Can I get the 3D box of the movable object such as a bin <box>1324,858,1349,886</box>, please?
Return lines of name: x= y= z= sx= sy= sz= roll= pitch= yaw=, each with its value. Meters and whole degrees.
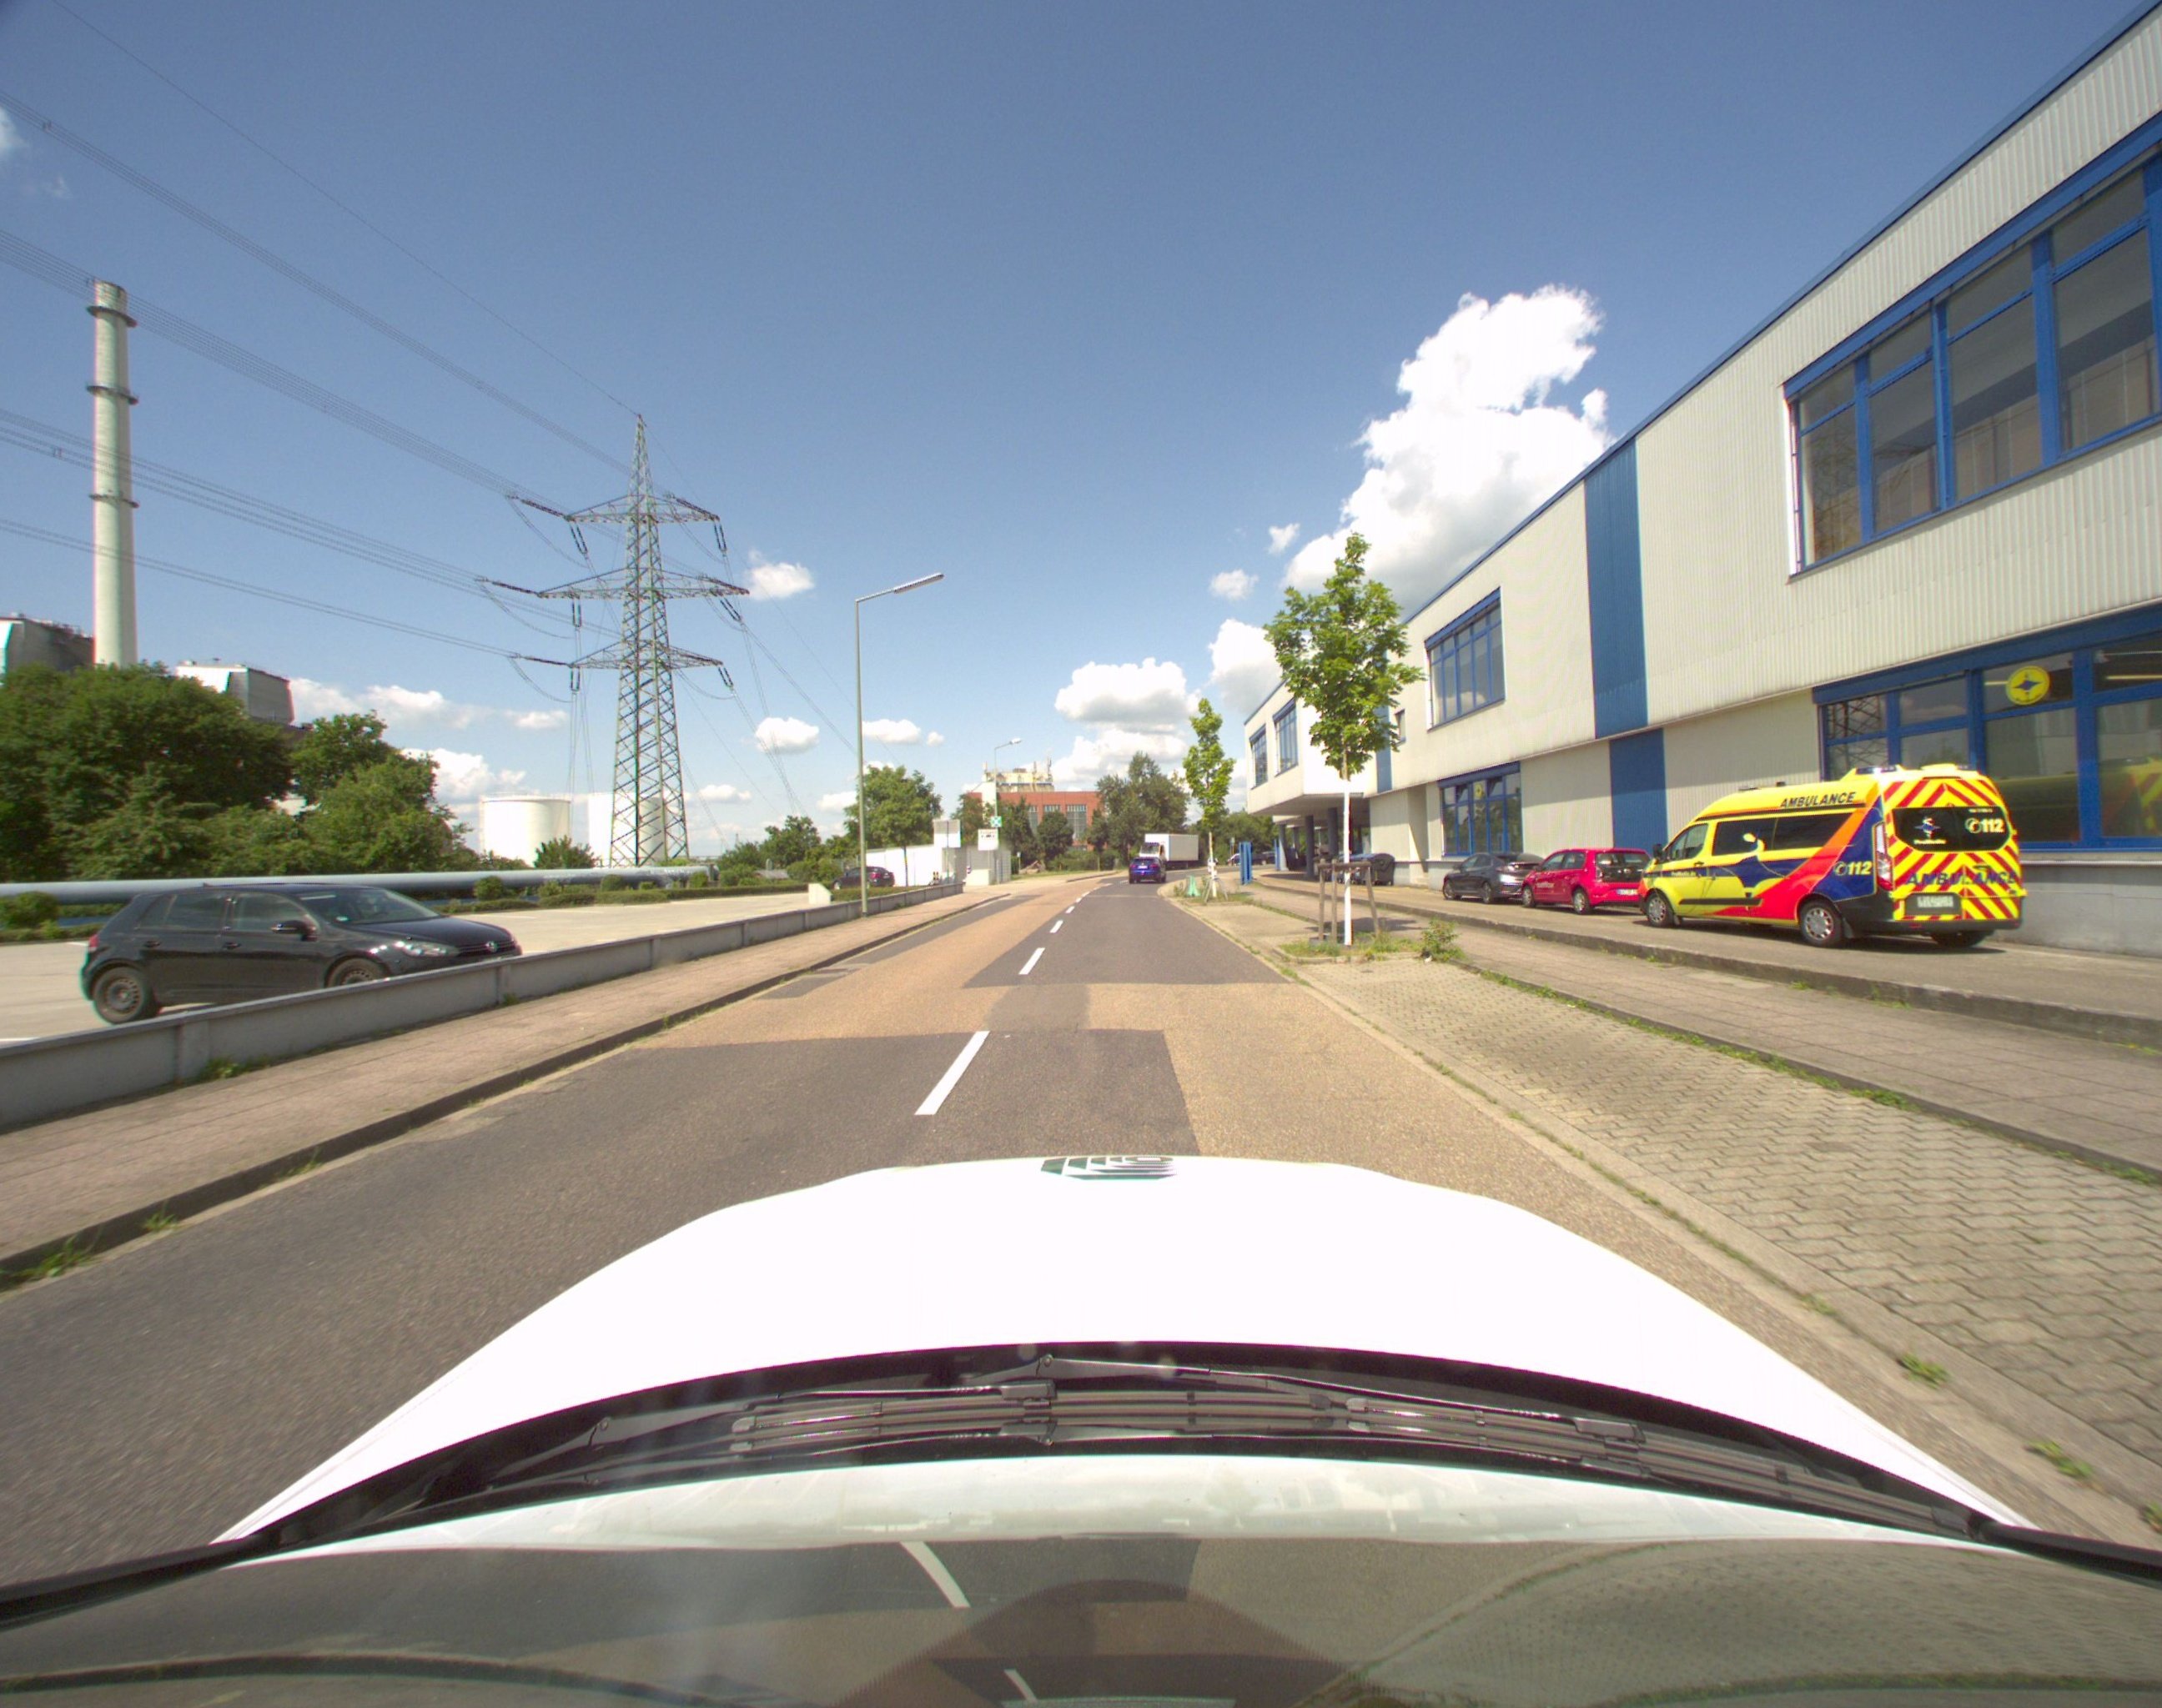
movable object such as a bin: x=13.072 y=0.927 z=41.736 sx=0.801 sy=1.414 sz=1.427 roll=0 pitch=-1 yaw=0

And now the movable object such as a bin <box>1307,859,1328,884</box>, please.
movable object such as a bin: x=13.406 y=0.978 z=46.196 sx=0.801 sy=1.414 sz=1.357 roll=0 pitch=-1 yaw=0

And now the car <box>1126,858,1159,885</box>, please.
car: x=3.902 y=1.103 z=50.740 sx=1.900 sy=1.593 sz=4.709 roll=0 pitch=-1 yaw=6

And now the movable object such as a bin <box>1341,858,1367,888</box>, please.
movable object such as a bin: x=13.066 y=0.916 z=38.964 sx=0.801 sy=1.414 sz=1.358 roll=0 pitch=-1 yaw=1

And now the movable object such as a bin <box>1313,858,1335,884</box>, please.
movable object such as a bin: x=13.344 y=0.933 z=44.718 sx=0.801 sy=1.414 sz=1.357 roll=0 pitch=-1 yaw=0

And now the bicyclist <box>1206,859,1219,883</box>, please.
bicyclist: x=7.752 y=0.980 z=48.137 sx=0.658 sy=1.397 sz=0.861 roll=-1 pitch=-1 yaw=13

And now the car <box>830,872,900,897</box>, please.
car: x=-12.627 y=1.771 z=47.466 sx=3.948 sy=1.378 sz=1.815 roll=-2 pitch=-1 yaw=36

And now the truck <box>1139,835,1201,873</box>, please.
truck: x=8.997 y=0.007 z=81.408 sx=2.299 sy=3.567 sz=9.426 roll=0 pitch=0 yaw=32

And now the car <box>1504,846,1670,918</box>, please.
car: x=11.548 y=0.628 z=18.906 sx=1.567 sy=1.491 sz=3.818 roll=0 pitch=-1 yaw=2

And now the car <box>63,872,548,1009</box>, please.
car: x=-8.837 y=0.942 z=9.553 sx=3.972 sy=1.376 sz=1.804 roll=-1 pitch=-1 yaw=1

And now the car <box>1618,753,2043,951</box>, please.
car: x=11.062 y=0.034 z=12.787 sx=1.916 sy=2.464 sz=5.261 roll=0 pitch=-1 yaw=2

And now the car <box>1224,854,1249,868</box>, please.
car: x=18.722 y=0.868 z=98.106 sx=2.884 sy=1.570 sz=1.892 roll=-1 pitch=-2 yaw=5

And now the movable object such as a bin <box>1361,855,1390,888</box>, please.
movable object such as a bin: x=13.017 y=0.775 z=36.000 sx=0.801 sy=1.414 sz=1.358 roll=0 pitch=-1 yaw=1

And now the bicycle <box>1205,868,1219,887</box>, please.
bicycle: x=7.719 y=1.366 z=47.897 sx=0.662 sy=1.109 sz=2.175 roll=-1 pitch=-1 yaw=13

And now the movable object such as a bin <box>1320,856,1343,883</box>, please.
movable object such as a bin: x=13.300 y=0.836 z=43.308 sx=0.801 sy=1.414 sz=1.405 roll=0 pitch=-1 yaw=0

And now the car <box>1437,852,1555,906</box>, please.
car: x=11.637 y=0.702 z=23.116 sx=1.490 sy=1.403 sz=3.856 roll=0 pitch=-1 yaw=2

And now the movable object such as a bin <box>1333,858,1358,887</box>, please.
movable object such as a bin: x=13.074 y=0.896 z=40.286 sx=0.801 sy=1.414 sz=1.174 roll=0 pitch=-1 yaw=0

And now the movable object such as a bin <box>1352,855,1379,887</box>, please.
movable object such as a bin: x=13.086 y=0.789 z=37.467 sx=0.801 sy=1.414 sz=1.358 roll=0 pitch=-1 yaw=1
